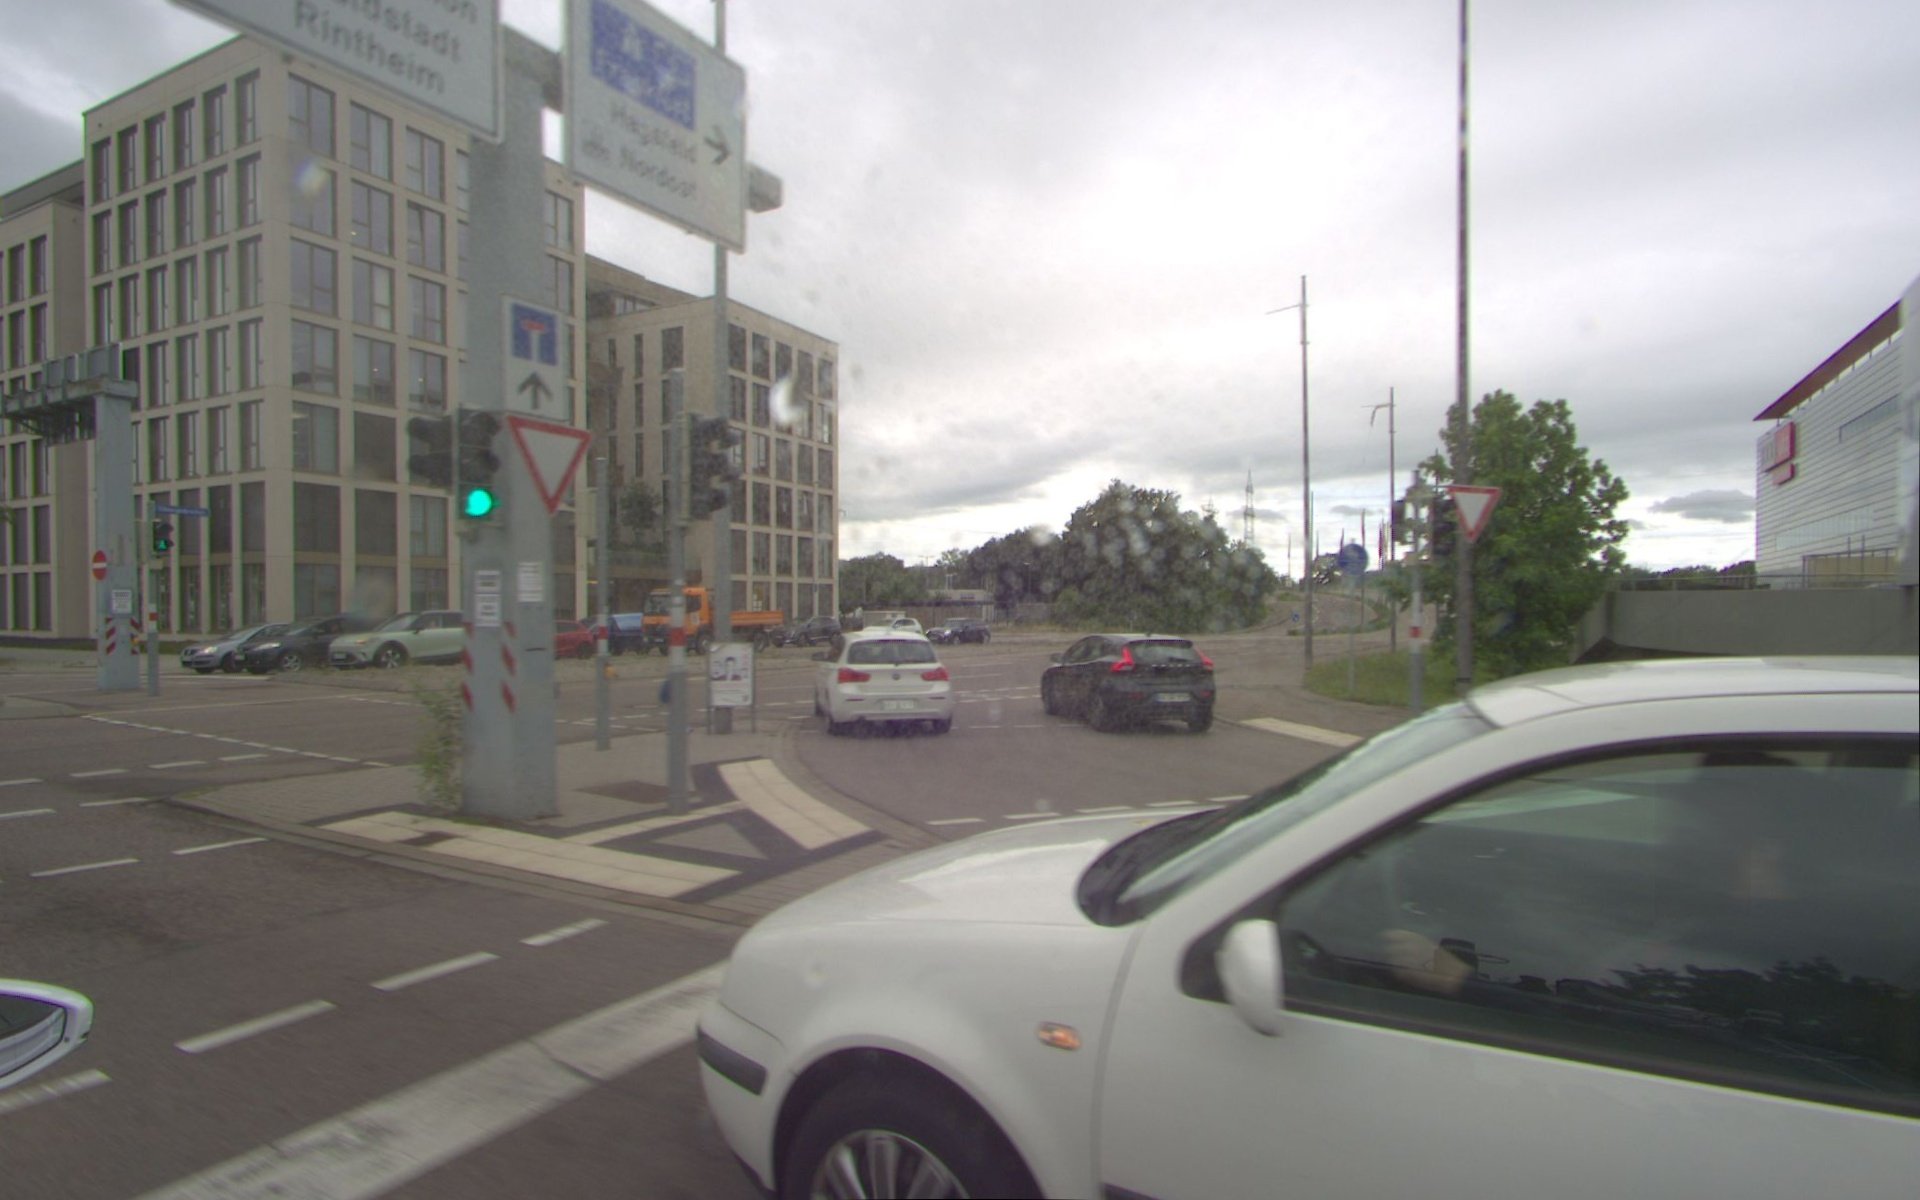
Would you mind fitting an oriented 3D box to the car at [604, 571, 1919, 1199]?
[{"bbox_3d":[1.337,0.759,2.040,3.947,1.496,1.830,-2,-3,32],"label":"car"}]

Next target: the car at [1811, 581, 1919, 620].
[{"bbox_3d":[43.642,0.052,47.885,4.199,1.696,1.769,-2,-3,32],"label":"car"}]

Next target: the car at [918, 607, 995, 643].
[{"bbox_3d":[-0.132,1.336,51.816,1.972,1.791,4.400,-1,-3,33],"label":"car"}]

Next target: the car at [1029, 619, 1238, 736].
[{"bbox_3d":[2.525,1.108,15.704,1.870,1.468,4.175,1,0,-11],"label":"car"}]

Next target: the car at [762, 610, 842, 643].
[{"bbox_3d":[-8.303,1.430,52.873,1.972,1.678,4.100,-1,-3,33],"label":"car"}]

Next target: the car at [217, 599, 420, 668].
[{"bbox_3d":[-17.850,0.974,28.102,1.969,1.791,4.407,-1,-3,27],"label":"car"}]

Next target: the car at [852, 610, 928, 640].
[{"bbox_3d":[-4.013,1.496,58.201,1.977,1.678,4.328,-2,-3,40],"label":"car"}]

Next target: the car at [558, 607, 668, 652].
[{"bbox_3d":[-14.410,1.284,41.798,1.969,1.791,4.136,-1,-3,27],"label":"car"}]

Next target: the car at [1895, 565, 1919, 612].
[{"bbox_3d":[37.934,-0.454,37.327,4.199,1.696,1.769,-2,-3,32],"label":"car"}]

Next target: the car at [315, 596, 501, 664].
[{"bbox_3d":[-14.746,0.850,26.997,1.875,1.664,4.056,-1,-3,26],"label":"car"}]

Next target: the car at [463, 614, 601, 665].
[{"bbox_3d":[-14.560,1.375,34.262,1.969,1.621,3.986,-1,-3,28],"label":"car"}]

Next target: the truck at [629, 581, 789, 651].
[{"bbox_3d":[-10.353,0.787,42.061,2.779,2.671,6.650,-1,-3,29],"label":"truck"}]

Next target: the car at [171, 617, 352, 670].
[{"bbox_3d":[-20.626,1.298,29.762,1.724,1.450,4.084,-1,-3,27],"label":"car"}]

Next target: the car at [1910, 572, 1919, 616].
[{"bbox_3d":[40.378,-0.292,39.272,4.199,1.696,1.769,-2,-3,32],"label":"car"}]

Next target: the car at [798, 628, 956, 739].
[{"bbox_3d":[-1.403,1.148,15.222,1.801,1.428,4.194,1,-1,-13],"label":"car"}]
